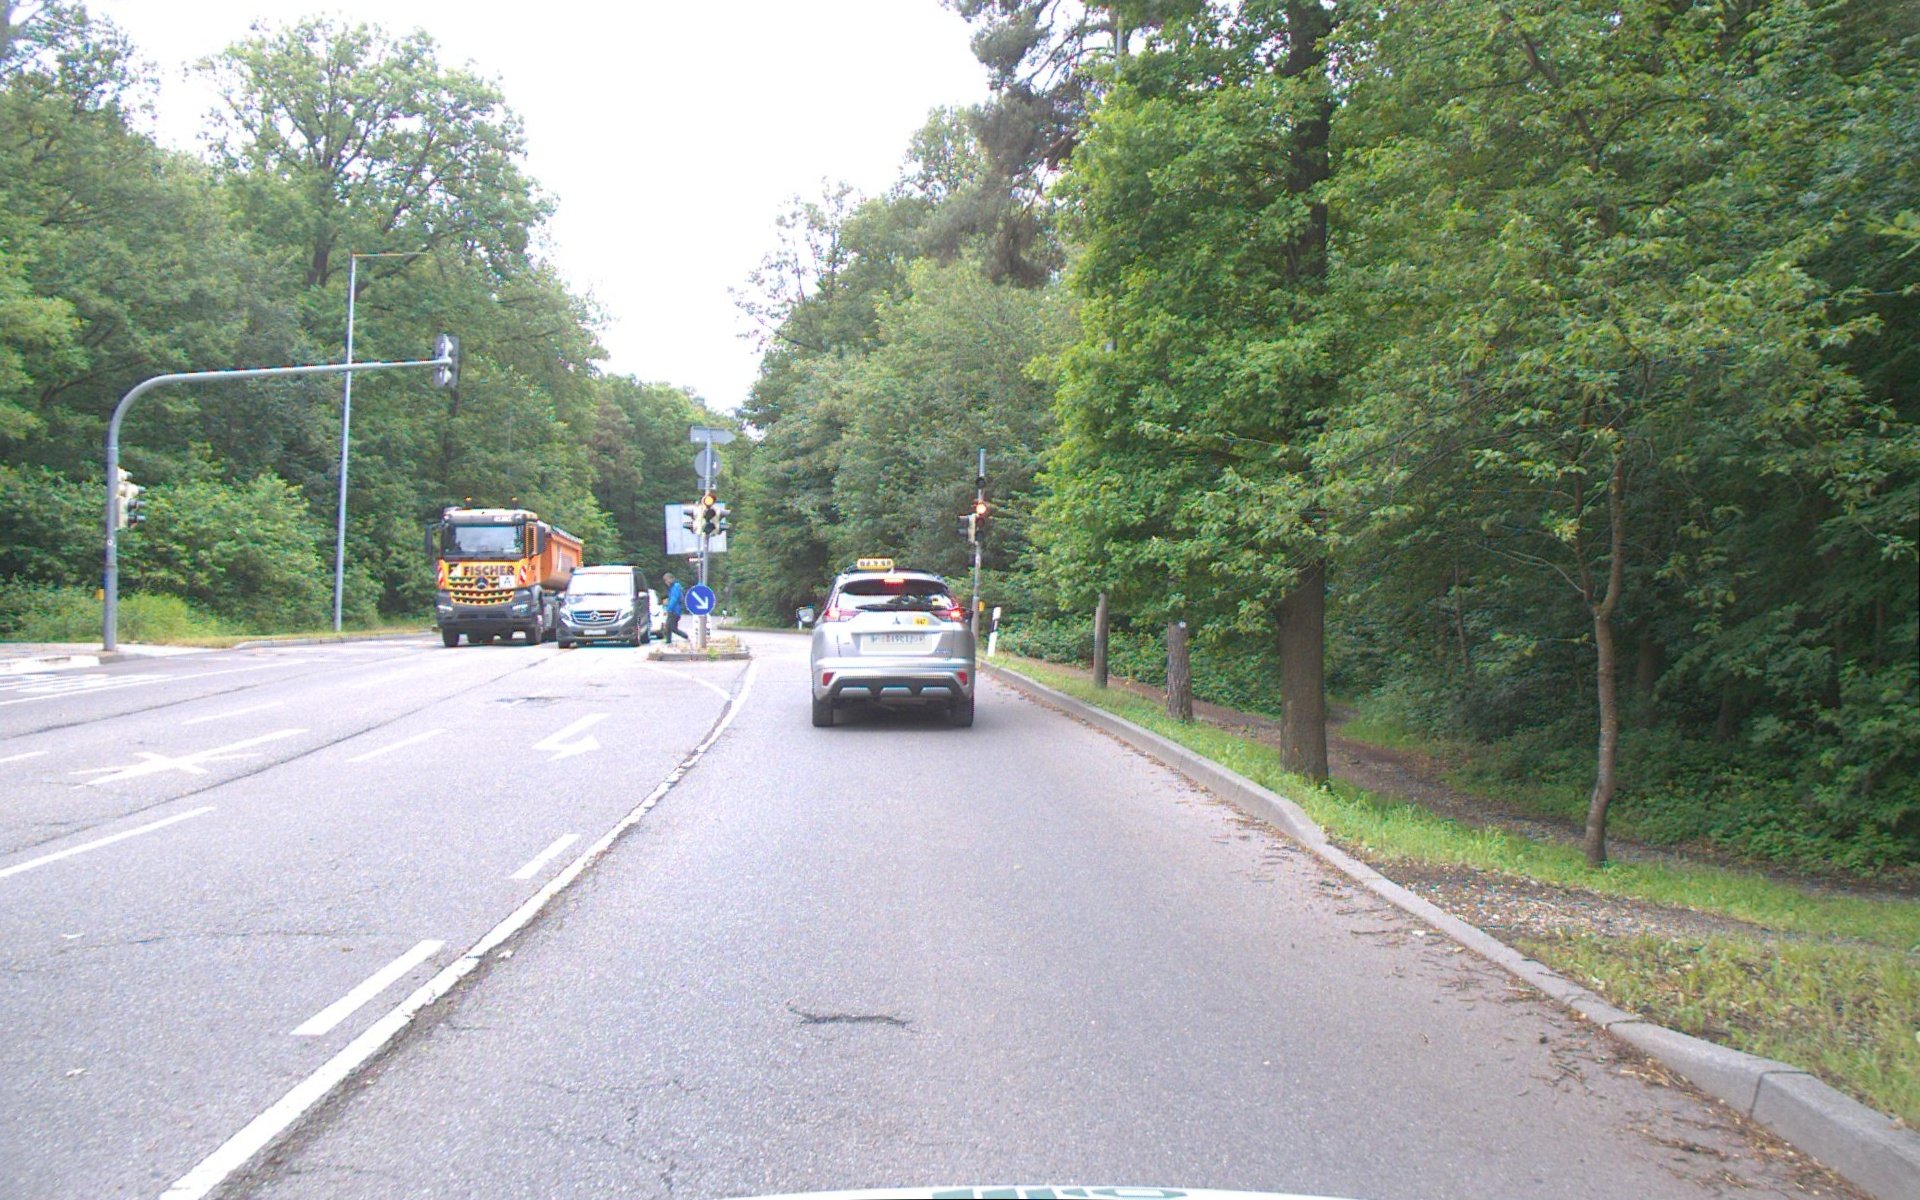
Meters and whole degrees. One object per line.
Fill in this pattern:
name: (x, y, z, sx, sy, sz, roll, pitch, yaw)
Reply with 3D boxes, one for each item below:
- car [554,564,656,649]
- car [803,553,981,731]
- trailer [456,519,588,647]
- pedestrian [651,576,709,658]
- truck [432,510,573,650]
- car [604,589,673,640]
car: (-8.609, 0.159, 40.452, 1.956, 1.927, 4.831, -1, 0, -7)
car: (-0.687, 0.398, 18.957, 1.809, 1.811, 4.000, 1, 1, 0)
trailer: (-12.526, -0.422, 47.962, 2.688, 3.376, 8.552, -1, 0, -8)
pedestrian: (-5.803, 0.346, 34.361, 1.025, 1.678, 1.069, 0, 1, 0)
truck: (-11.915, -0.464, 43.653, 2.688, 3.376, 7.146, -1, -1, -8)
car: (-9.362, 0.381, 48.383, 1.581, 1.344, 3.717, -2, 1, -5)
